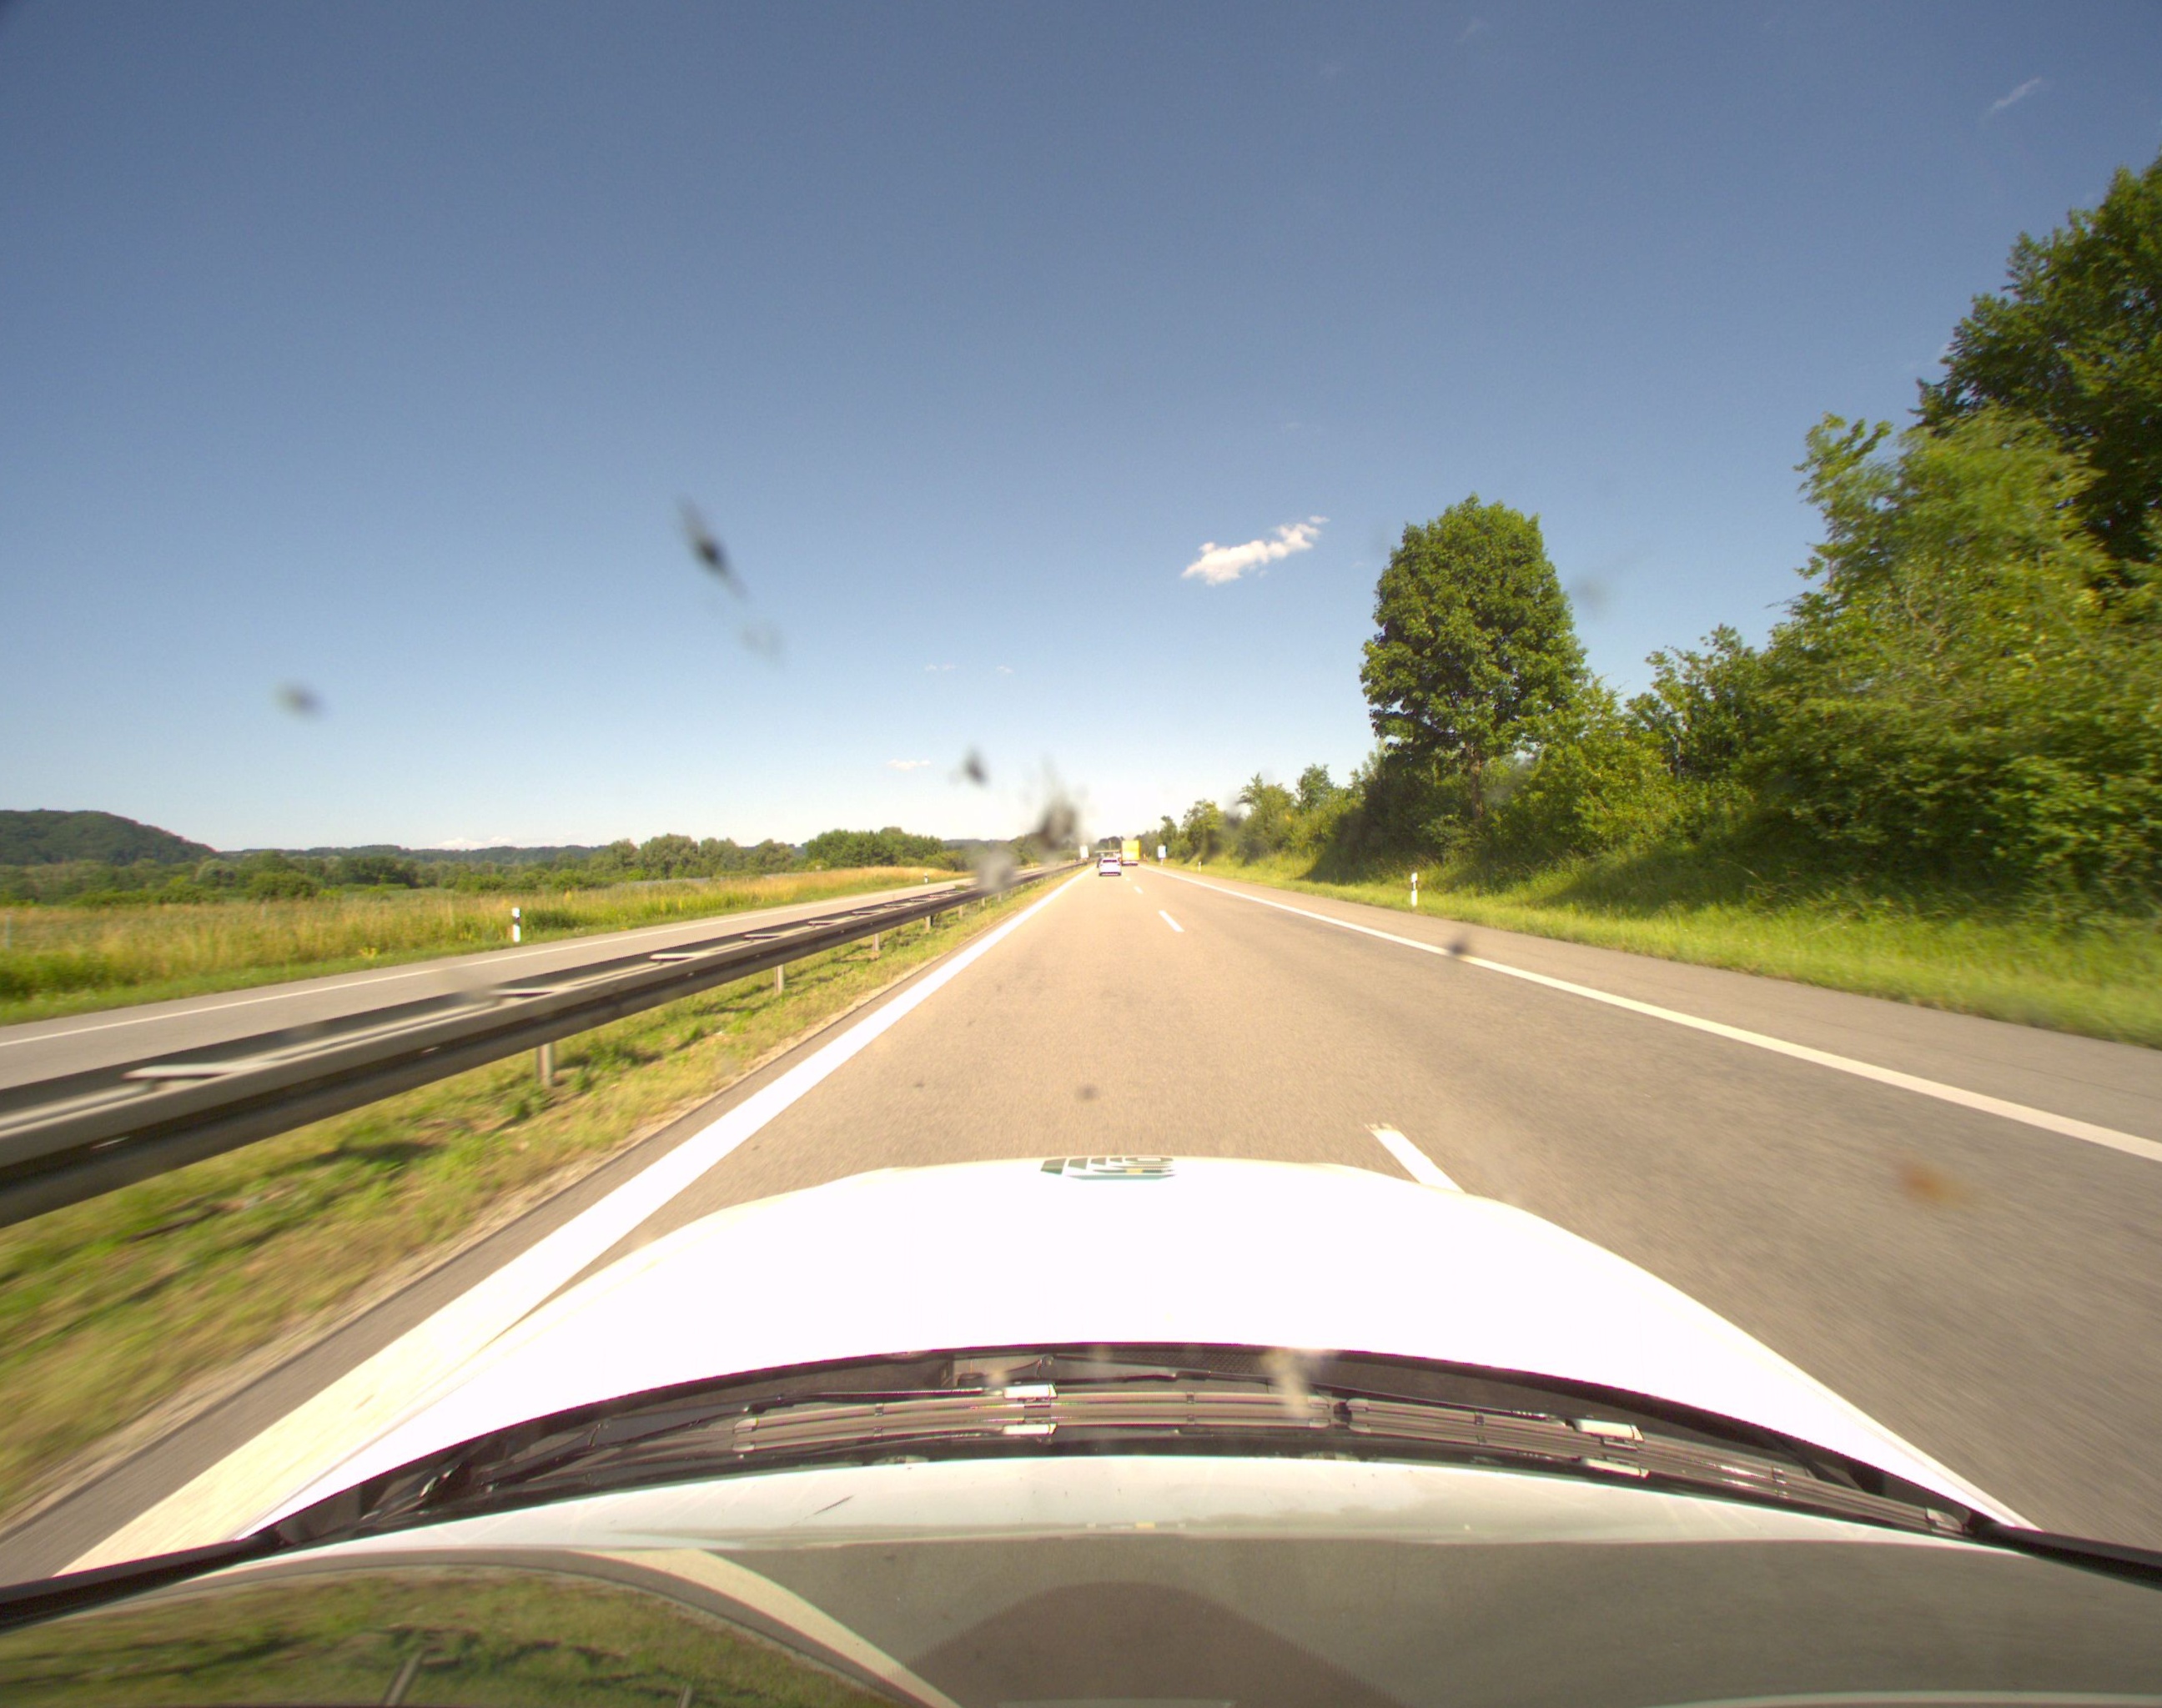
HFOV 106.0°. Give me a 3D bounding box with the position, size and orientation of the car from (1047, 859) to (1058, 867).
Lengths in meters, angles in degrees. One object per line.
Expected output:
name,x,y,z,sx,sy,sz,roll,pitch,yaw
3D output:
car,-5.979,1.917,173.694,1.895,1.683,4.733,-3,-1,2

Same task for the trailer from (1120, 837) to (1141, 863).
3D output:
trailer,8.007,-0.517,134.205,3.172,4.059,13.194,-1,0,2

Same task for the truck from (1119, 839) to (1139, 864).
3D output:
truck,8.257,-0.441,140.678,3.157,4.114,6.390,-1,-1,1

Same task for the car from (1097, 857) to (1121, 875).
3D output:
car,2.266,0.961,65.265,1.835,1.415,4.003,-1,-1,3

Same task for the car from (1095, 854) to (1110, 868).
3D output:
car,3.036,0.991,115.330,1.986,2.014,4.001,-1,-1,1
